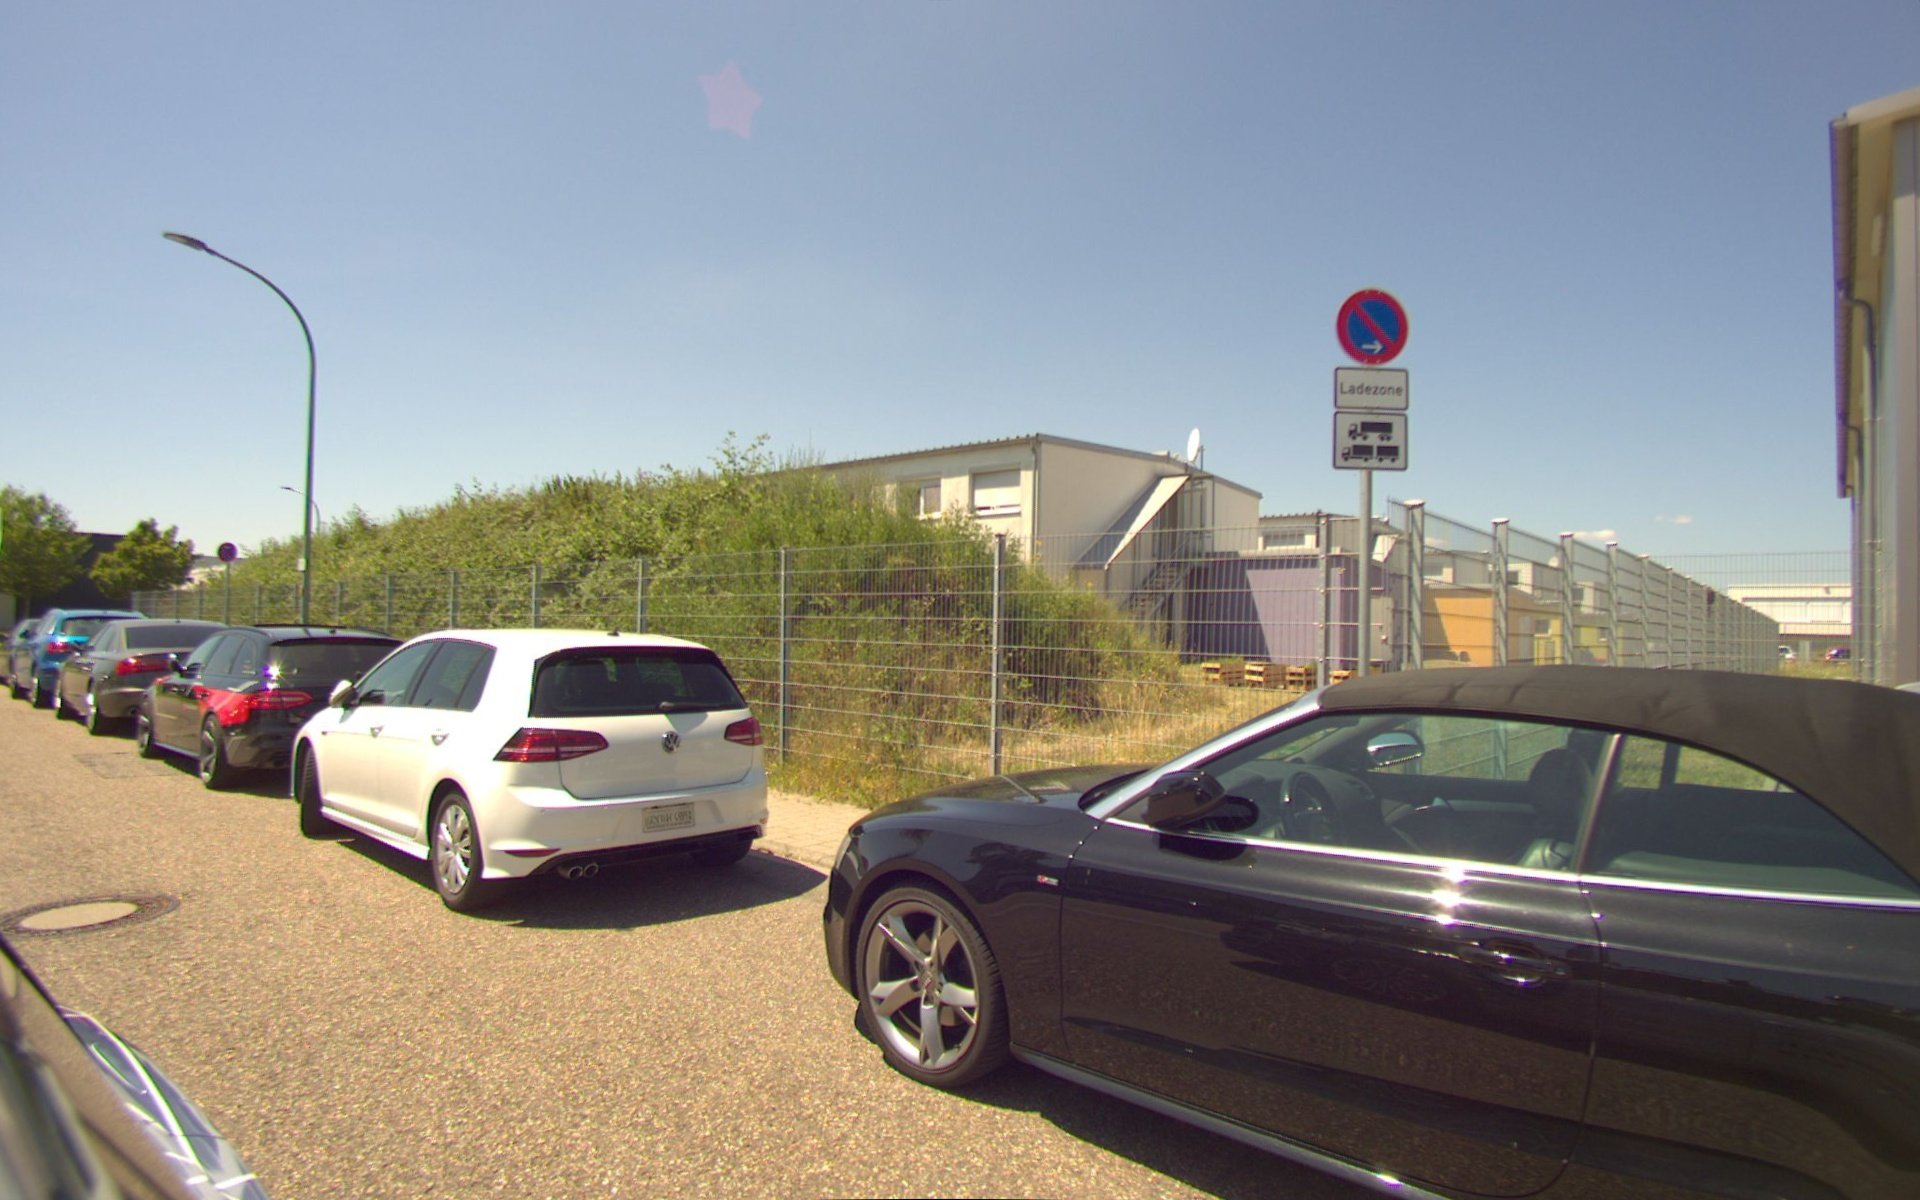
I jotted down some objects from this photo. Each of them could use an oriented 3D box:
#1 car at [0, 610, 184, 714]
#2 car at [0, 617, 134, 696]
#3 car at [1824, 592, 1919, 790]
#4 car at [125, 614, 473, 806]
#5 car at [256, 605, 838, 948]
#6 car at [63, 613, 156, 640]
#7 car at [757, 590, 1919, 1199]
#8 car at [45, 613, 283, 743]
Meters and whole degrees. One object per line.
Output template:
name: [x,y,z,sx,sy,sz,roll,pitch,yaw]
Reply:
car: [-15.215,1.008,17.606,4.384,1.582,1.805,-1,-3,41]
car: [-19.050,1.126,21.264,4.578,1.466,1.805,-1,-3,41]
car: [9.069,0.675,7.280,4.259,1.511,1.804,-1,-1,44]
car: [-6.803,0.926,10.200,4.519,1.511,1.805,-1,-3,42]
car: [-2.897,0.836,6.584,4.258,1.511,1.805,-1,-3,42]
car: [-52.670,1.647,62.739,1.779,1.579,4.115,-1,-3,40]
car: [1.550,0.786,2.914,4.524,1.511,1.805,-1,-3,42]
car: [-11.145,0.975,14.048,4.519,1.511,1.805,-1,-3,42]
